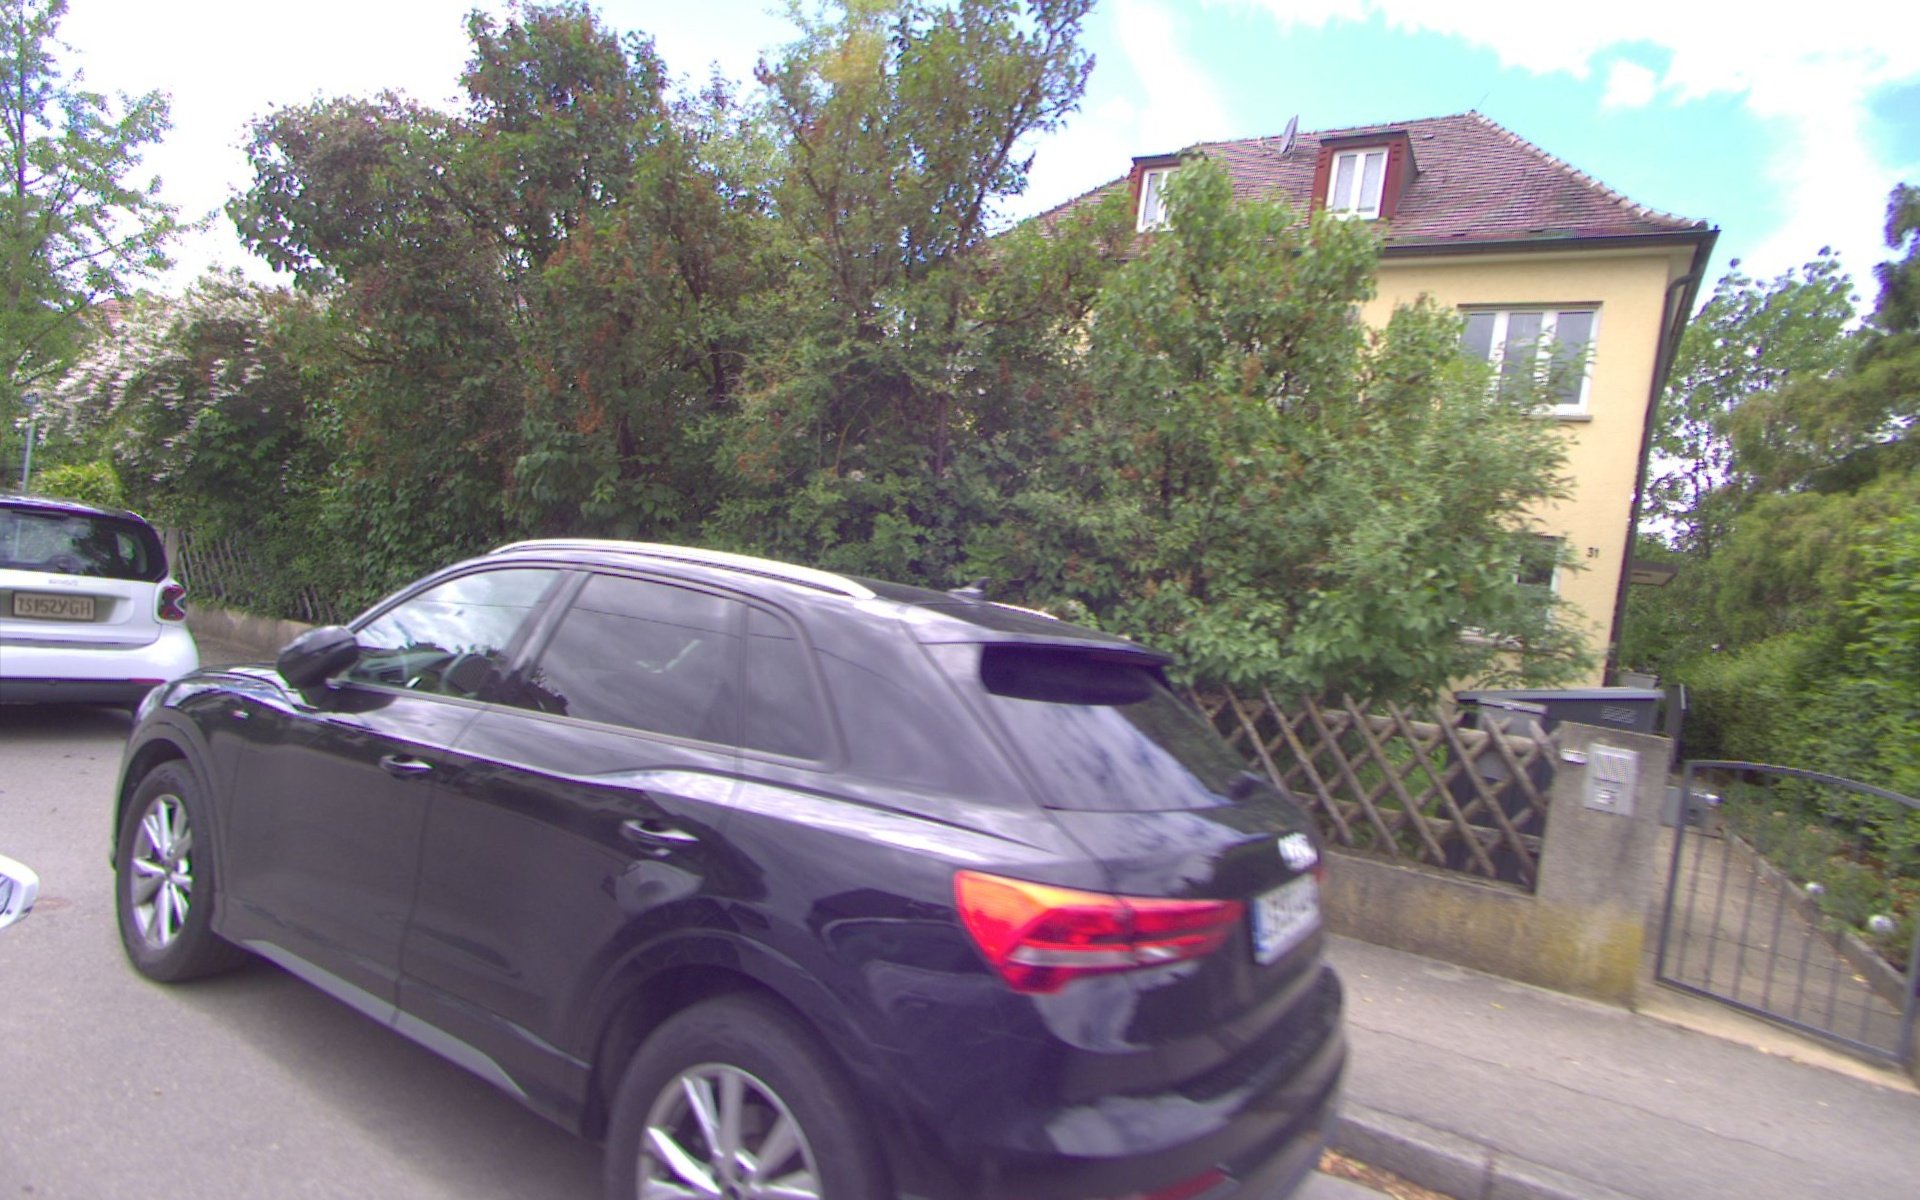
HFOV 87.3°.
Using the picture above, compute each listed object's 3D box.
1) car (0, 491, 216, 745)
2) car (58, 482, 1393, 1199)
[{"bbox_3d":[-6.880,0.000,7.057,2.963,1.529,1.601,6,-1,32],"label":"car"},{"bbox_3d":[-1.004,0.643,3.288,4.073,1.611,1.803,7,-1,33],"label":"car"}]
